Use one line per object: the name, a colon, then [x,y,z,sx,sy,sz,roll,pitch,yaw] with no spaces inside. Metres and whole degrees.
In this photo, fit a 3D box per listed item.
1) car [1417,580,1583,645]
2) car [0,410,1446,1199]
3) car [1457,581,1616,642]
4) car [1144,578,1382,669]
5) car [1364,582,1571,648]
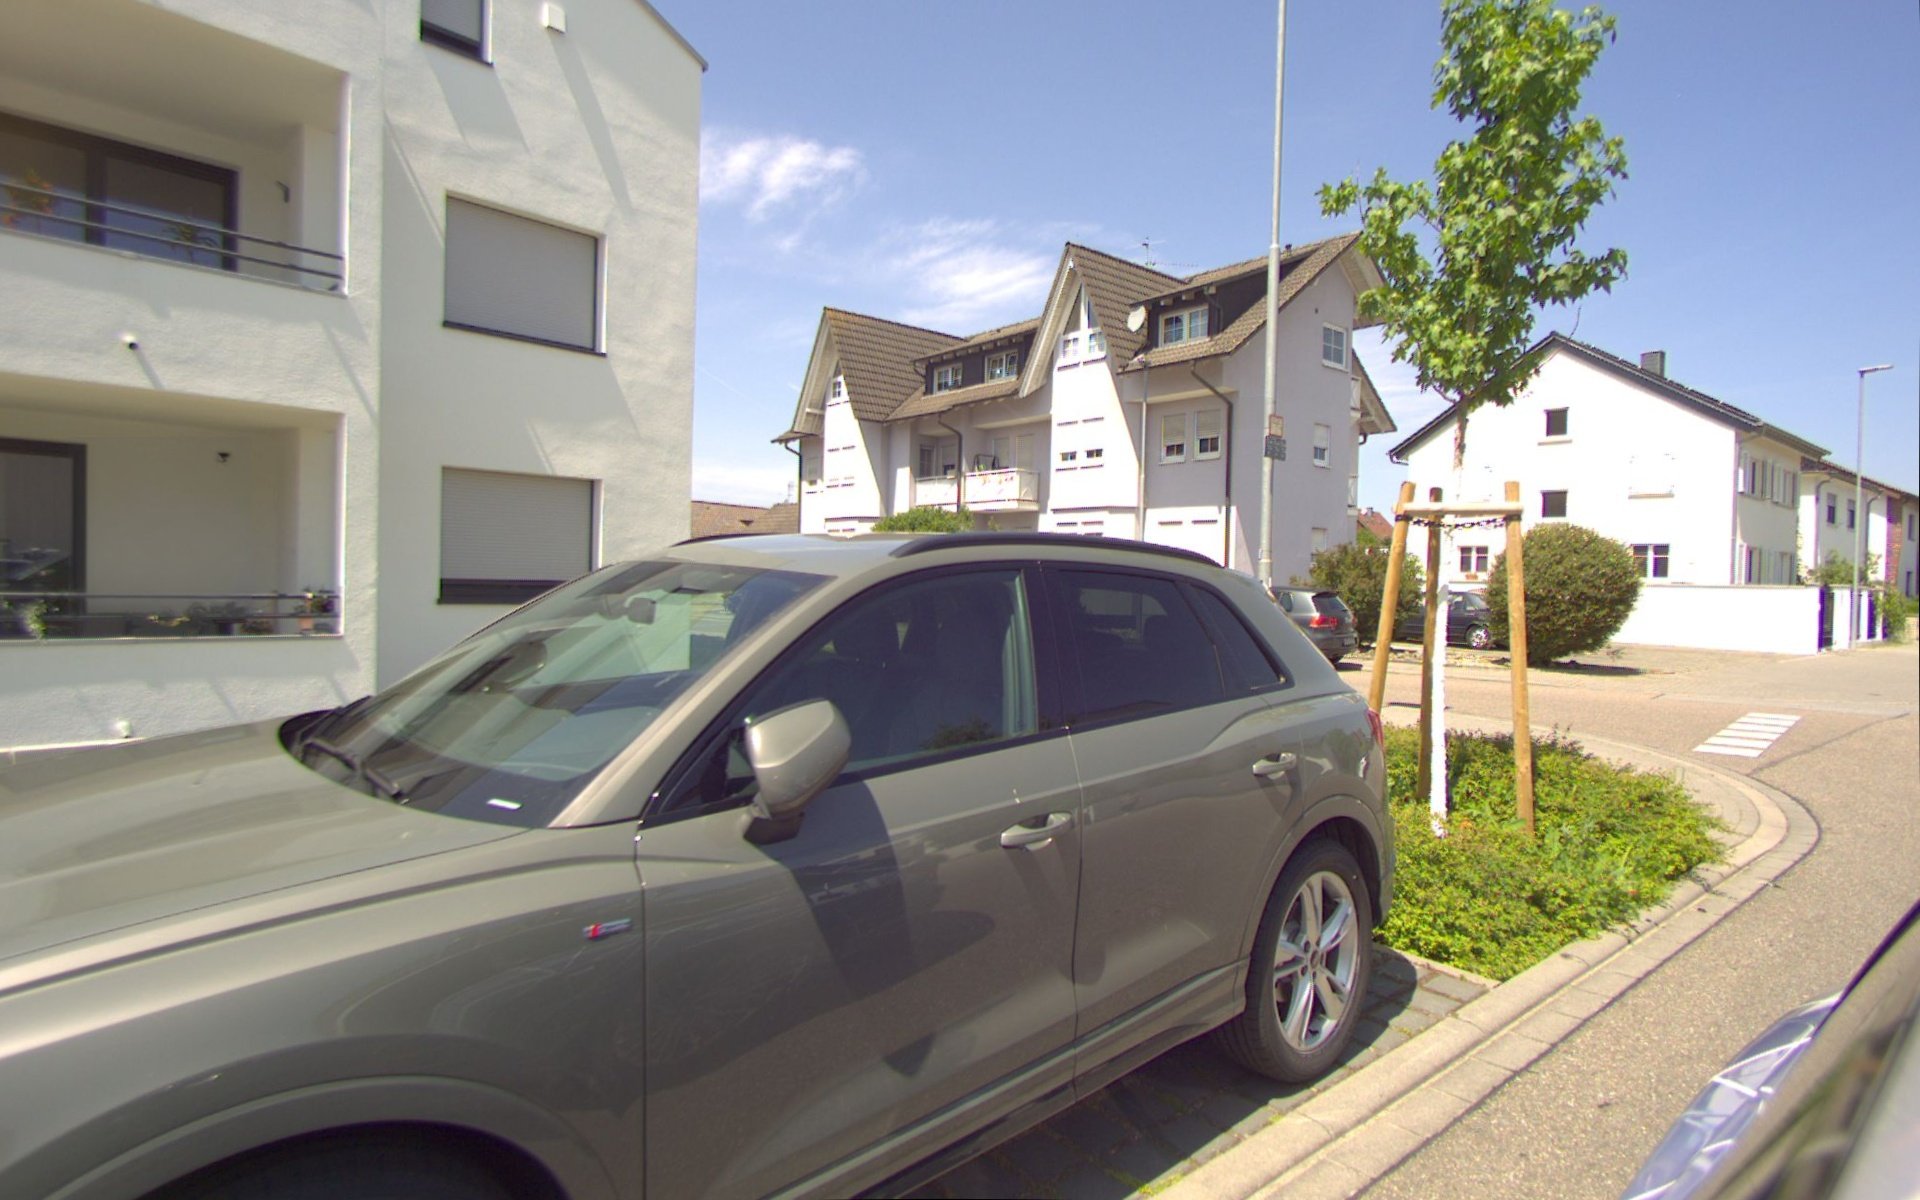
car: [14.010,0.278,26.358,1.636,1.513,3.449,1,1,-42]
car: [-0.498,0.580,2.719,4.206,1.615,1.776,0,2,-42]
car: [15.933,0.266,28.054,1.637,1.515,3.502,0,1,-45]
car: [5.689,0.377,19.288,3.992,1.486,1.729,2,2,43]
car: [12.292,0.313,24.730,1.636,1.391,4.207,0,1,-42]
